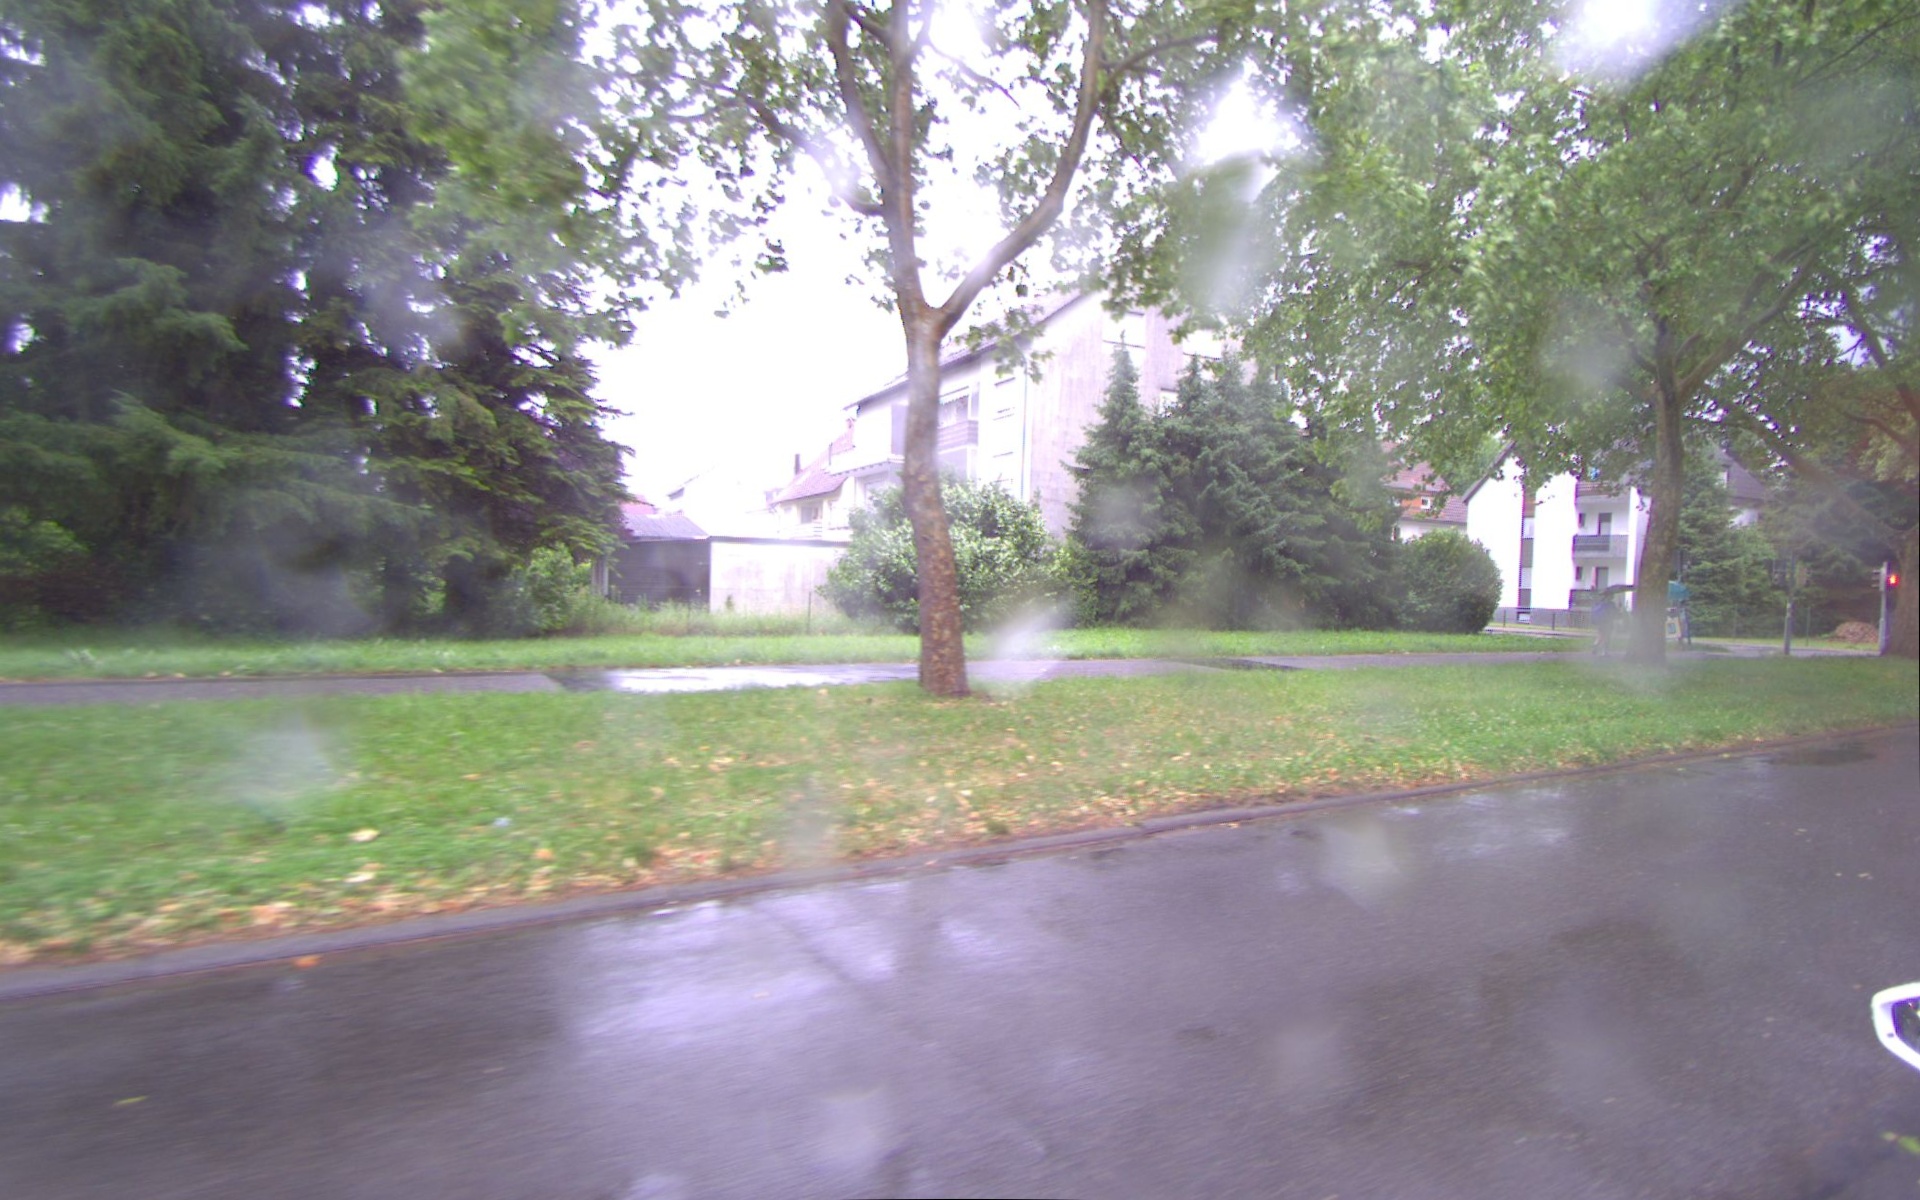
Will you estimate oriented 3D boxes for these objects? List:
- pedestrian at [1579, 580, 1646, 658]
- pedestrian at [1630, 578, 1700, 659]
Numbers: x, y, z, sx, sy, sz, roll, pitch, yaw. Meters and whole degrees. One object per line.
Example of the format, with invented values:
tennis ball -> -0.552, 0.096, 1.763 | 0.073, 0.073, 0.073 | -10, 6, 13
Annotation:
pedestrian -> 15.529, 0.438, 23.911 | 0.869, 1.789, 1.028 | 1, 1, -30
pedestrian -> 16.032, 0.397, 22.845 | 0.828, 1.789, 1.028 | 1, 1, -30
